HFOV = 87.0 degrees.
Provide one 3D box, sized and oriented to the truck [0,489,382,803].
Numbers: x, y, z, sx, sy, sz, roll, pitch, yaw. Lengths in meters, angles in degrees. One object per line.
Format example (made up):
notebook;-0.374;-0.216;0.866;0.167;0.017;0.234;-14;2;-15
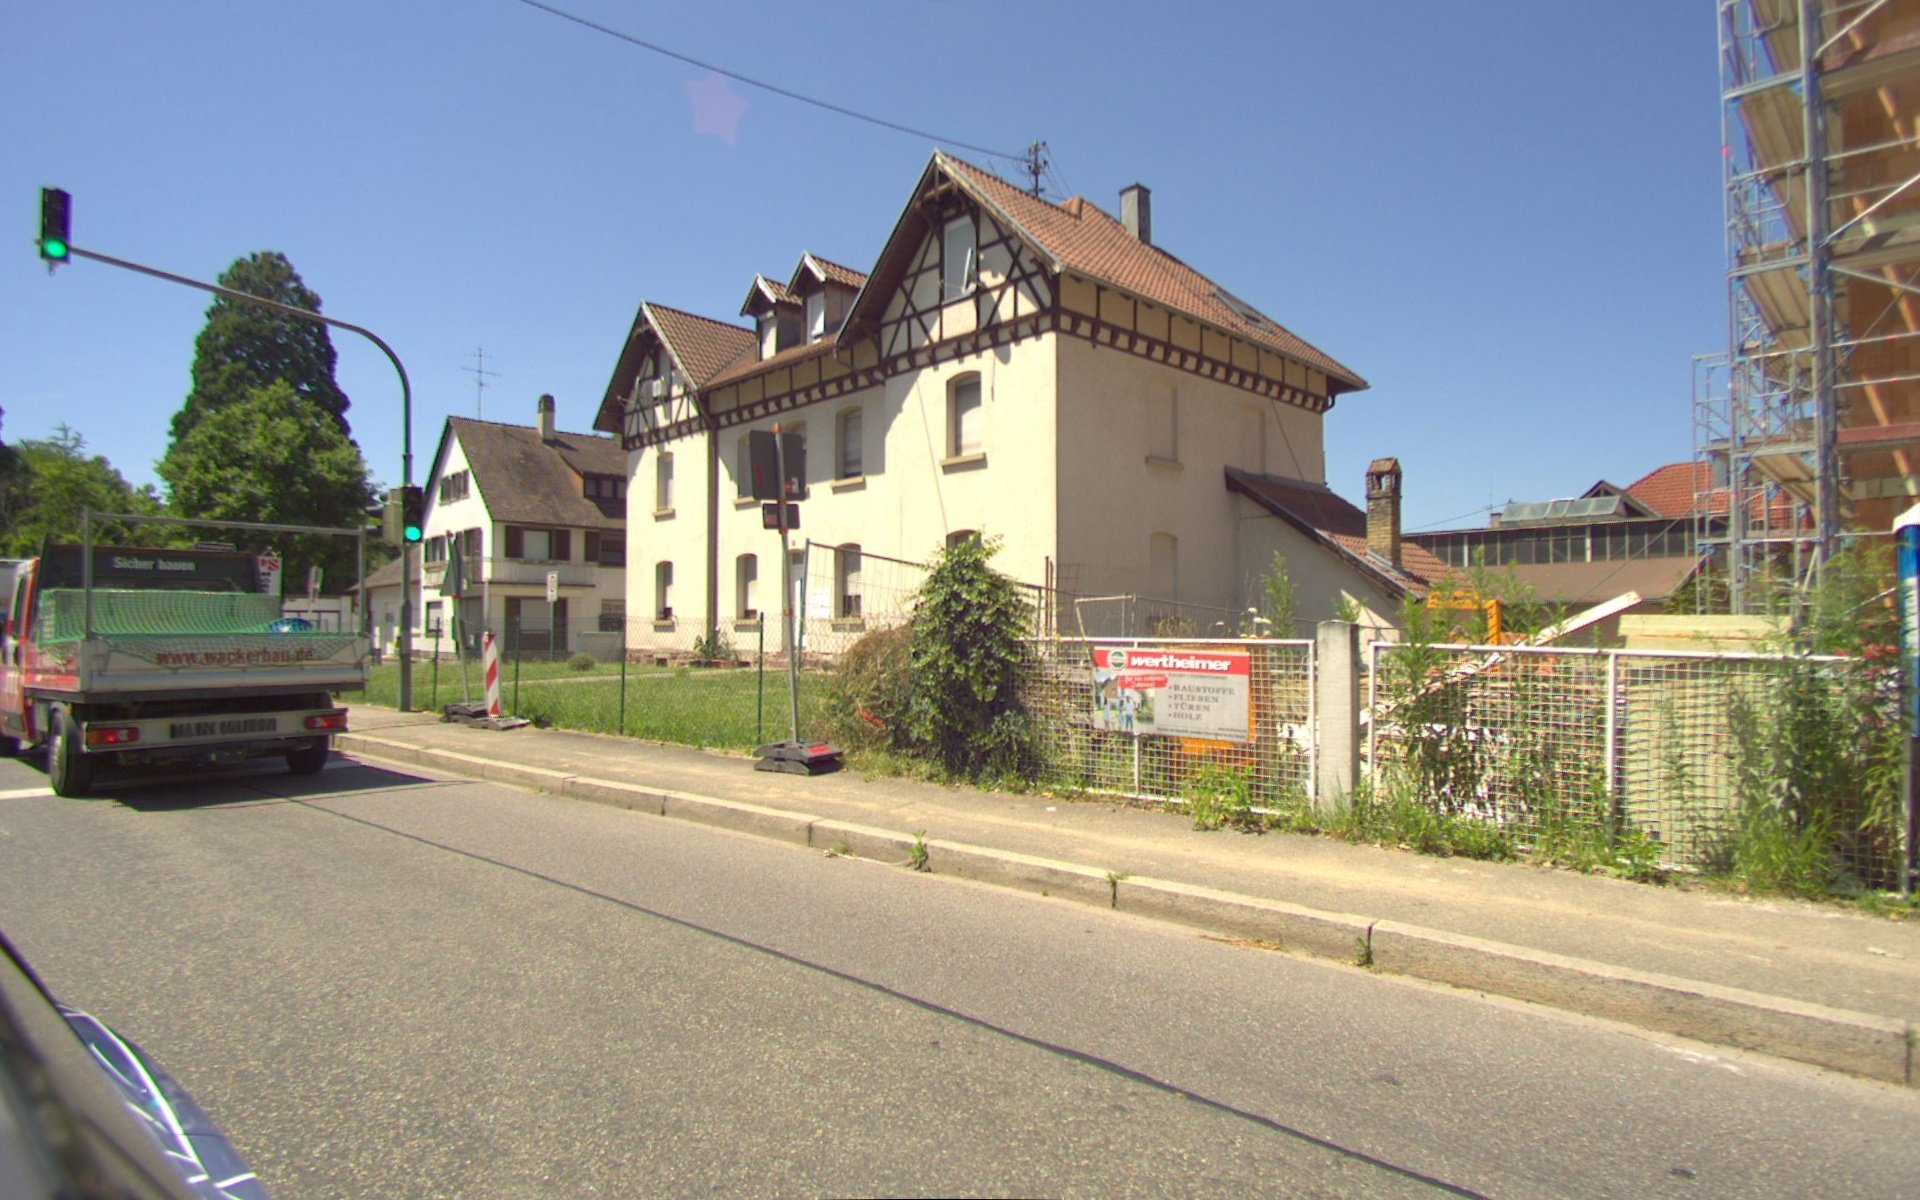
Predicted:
truck;-8.399;0.459;10.509;6.430;2.357;2.105;-2;-4;41
